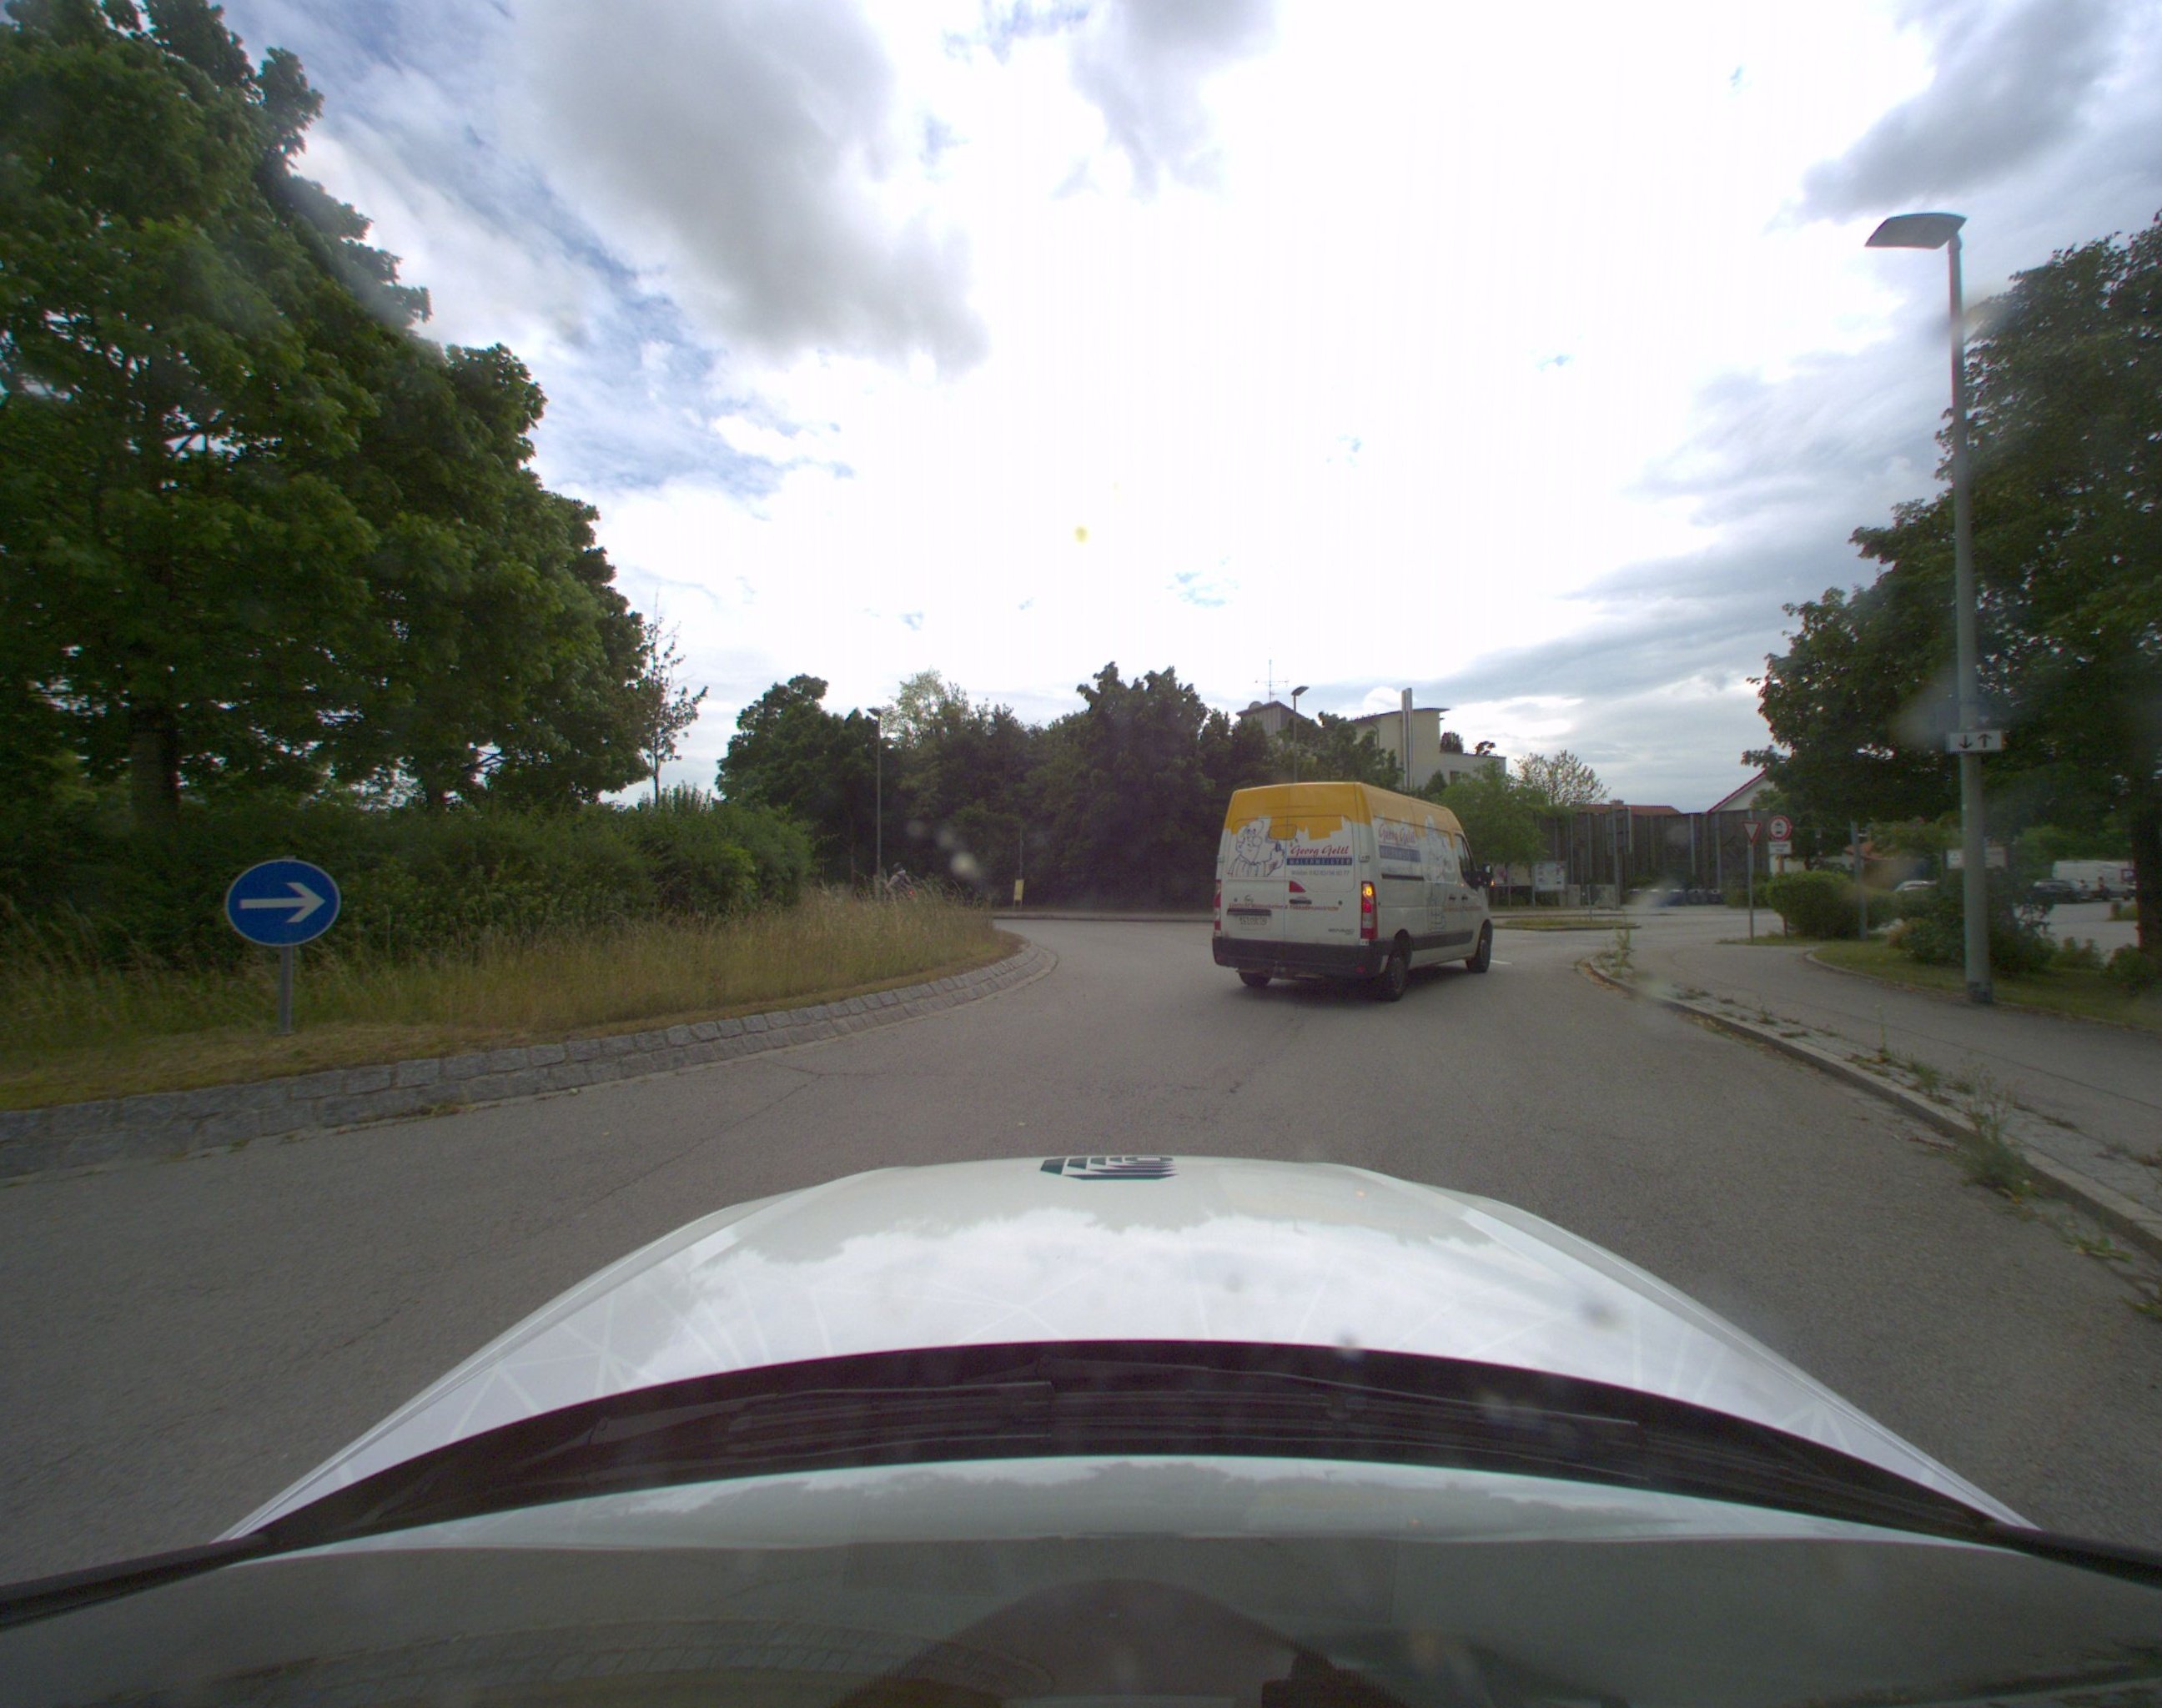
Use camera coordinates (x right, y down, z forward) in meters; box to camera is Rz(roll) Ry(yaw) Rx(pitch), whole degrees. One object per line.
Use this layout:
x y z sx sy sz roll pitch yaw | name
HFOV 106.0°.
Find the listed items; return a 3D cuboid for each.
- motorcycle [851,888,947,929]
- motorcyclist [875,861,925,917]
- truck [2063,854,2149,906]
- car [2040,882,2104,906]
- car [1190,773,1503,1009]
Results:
-5.331 1.596 23.954 2.594 1.158 0.902 -1 -2 11 | motorcycle
-5.327 1.021 23.966 1.179 1.624 0.866 -1 -2 11 | motorcyclist
63.858 1.675 50.744 5.420 3.077 2.151 2 -3 -26 | truck
57.806 2.324 47.508 3.517 1.380 1.529 1 -3 -25 | car
3.932 0.451 11.236 2.141 2.452 5.475 0 -2 41 | car
